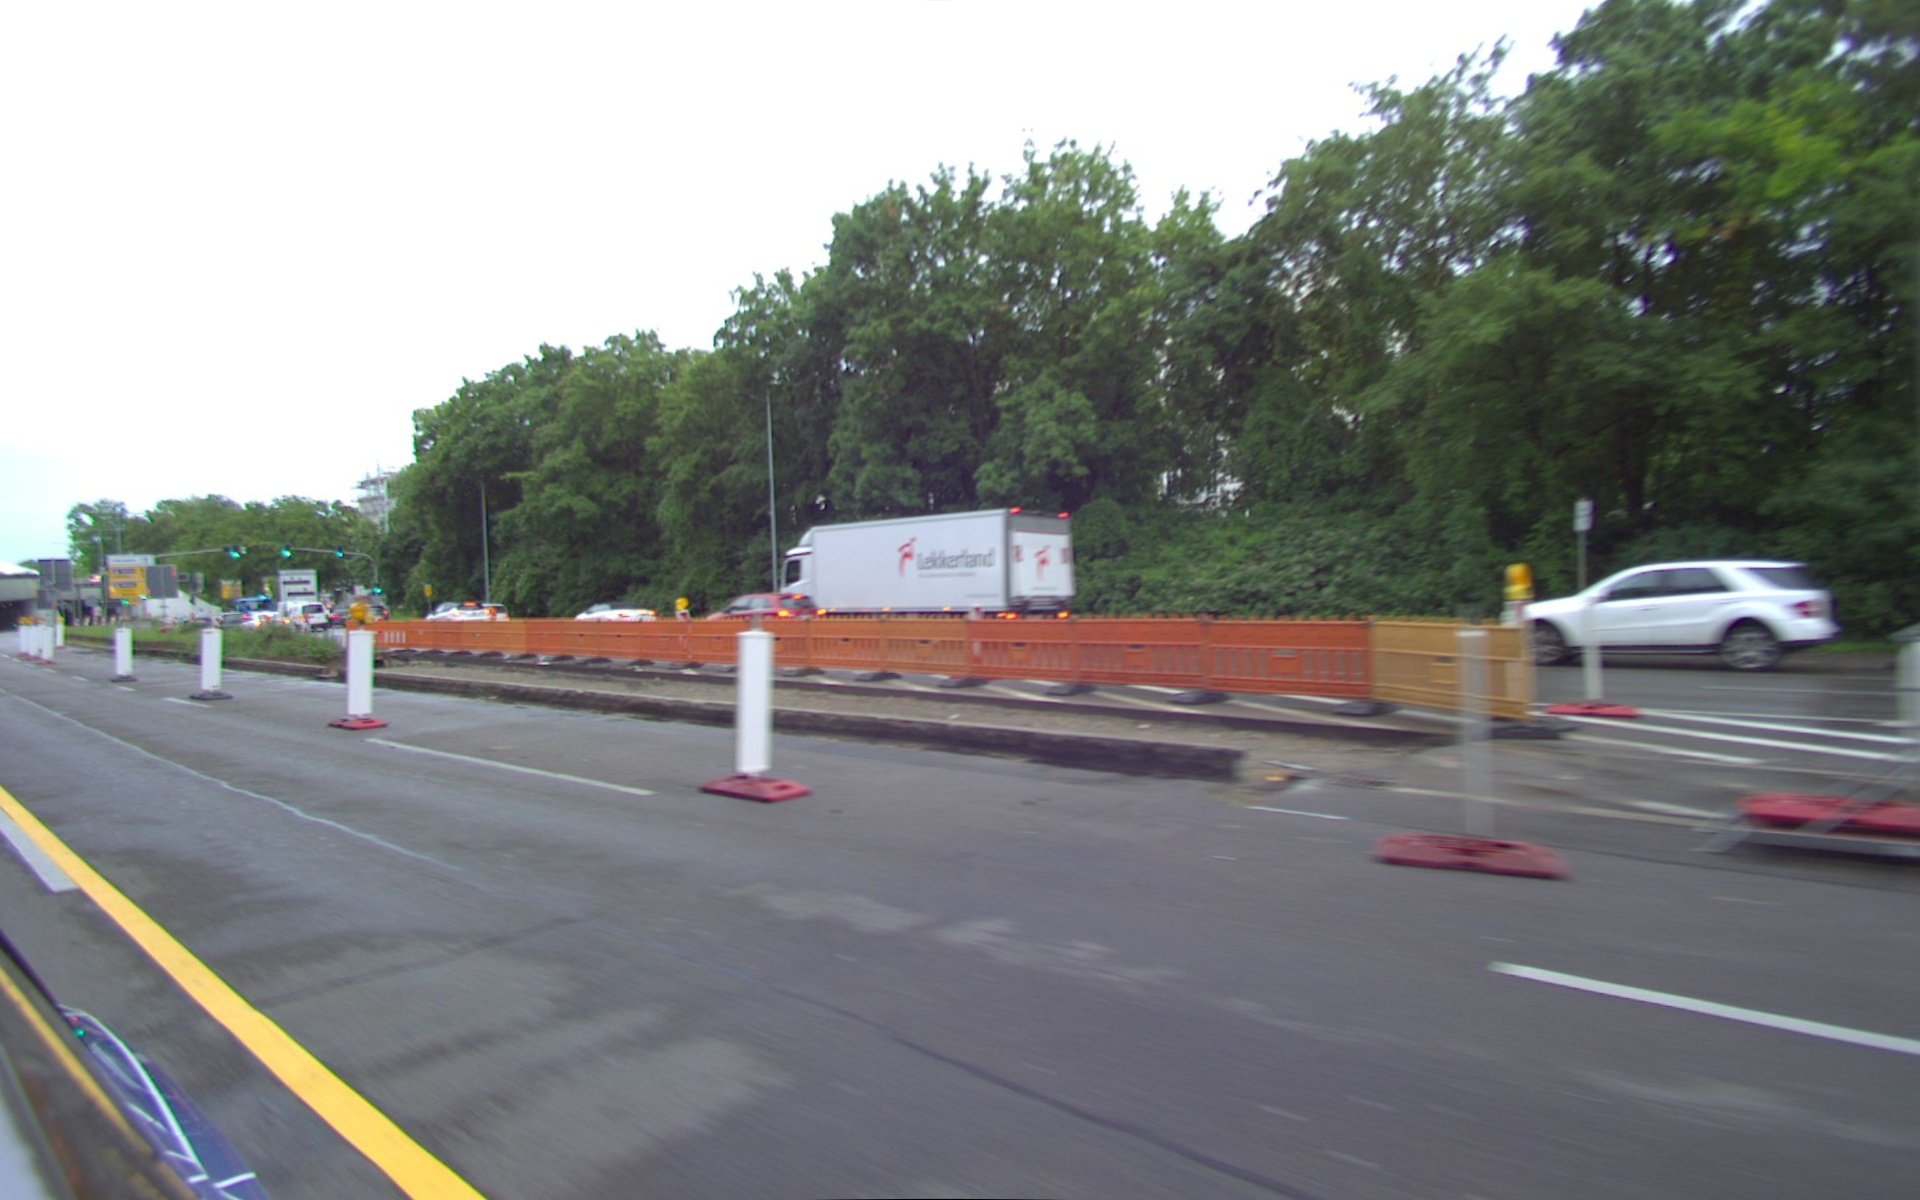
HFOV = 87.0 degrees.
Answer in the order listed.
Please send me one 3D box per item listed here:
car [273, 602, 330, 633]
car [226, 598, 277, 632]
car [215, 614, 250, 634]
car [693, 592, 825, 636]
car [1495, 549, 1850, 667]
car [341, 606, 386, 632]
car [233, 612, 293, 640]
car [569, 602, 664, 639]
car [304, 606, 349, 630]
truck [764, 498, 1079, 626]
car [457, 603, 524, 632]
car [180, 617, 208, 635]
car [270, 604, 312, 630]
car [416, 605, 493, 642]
[{"bbox_3d":[-42.323,1.133,65.000,4.832,1.794,1.894,-2,0,42],"label":"car"},{"bbox_3d":[-54.964,1.197,78.425,2.170,2.408,6.248,-4,1,-44],"label":"car"},{"bbox_3d":[-48.903,1.598,67.987,1.413,1.209,3.303,-3,2,-44],"label":"car"},{"bbox_3d":[-5.957,0.407,29.702,4.282,1.161,1.588,-1,1,43],"label":"car"},{"bbox_3d":[11.927,0.191,17.178,4.719,1.736,1.824,-2,-3,43],"label":"car"},{"bbox_3d":[-38.608,1.212,65.489,1.652,1.535,3.793,-3,2,-44],"label":"car"},{"bbox_3d":[-39.828,1.488,57.794,4.678,1.497,1.836,-2,0,43],"label":"car"},{"bbox_3d":[-14.112,0.842,41.453,4.368,1.389,1.791,-1,0,42],"label":"car"},{"bbox_3d":[-44.541,1.239,71.135,1.772,1.535,4.638,-3,2,-43],"label":"car"},{"bbox_3d":[-1.491,-0.895,29.496,10.147,3.172,2.765,-1,1,43],"label":"truck"},{"bbox_3d":[-24.205,0.901,52.156,3.896,1.436,1.772,-1,0,43],"label":"car"},{"bbox_3d":[-60.467,2.029,79.851,1.529,1.209,4.654,-3,2,-39],"label":"car"},{"bbox_3d":[-56.687,1.423,85.693,2.011,1.989,4.994,-4,1,-44],"label":"car"},{"bbox_3d":[-23.087,1.080,46.193,4.039,1.562,1.815,-1,0,43],"label":"car"}]
